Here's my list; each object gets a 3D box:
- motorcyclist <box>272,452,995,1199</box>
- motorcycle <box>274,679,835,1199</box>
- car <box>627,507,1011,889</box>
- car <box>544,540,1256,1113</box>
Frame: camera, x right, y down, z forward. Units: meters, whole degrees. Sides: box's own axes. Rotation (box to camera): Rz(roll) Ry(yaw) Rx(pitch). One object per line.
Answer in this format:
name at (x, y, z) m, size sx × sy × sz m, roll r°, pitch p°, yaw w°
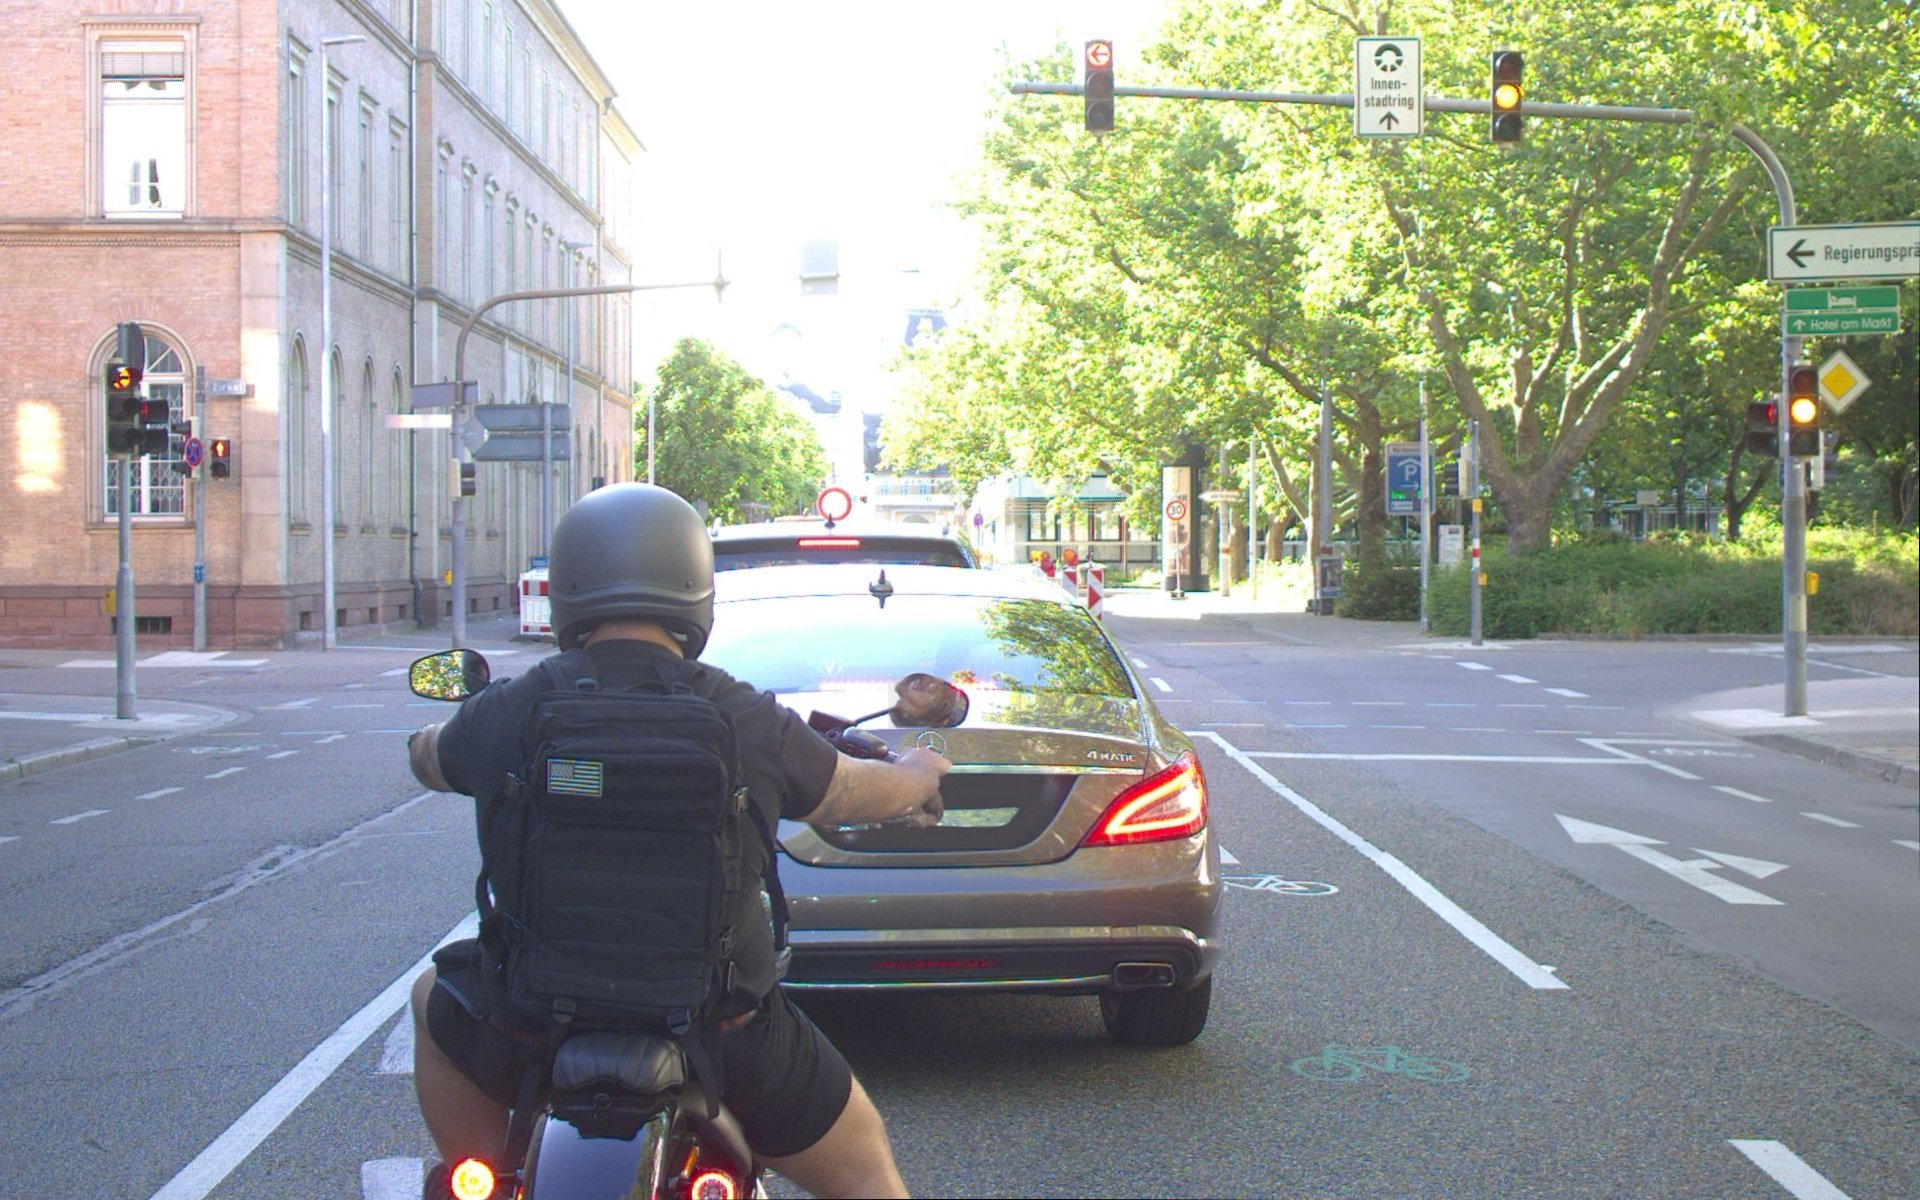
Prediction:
motorcyclist at (-0.464, 0.599, 5.337) m, size 0.990 × 1.605 × 1.120 m, roll 1°, pitch 0°, yaw -1°
motorcycle at (-0.561, 0.782, 5.432) m, size 0.660 × 1.236 × 2.058 m, roll 1°, pitch 1°, yaw -1°
car at (-0.636, 0.407, 16.983) m, size 1.651 × 1.646 × 4.000 m, roll 1°, pitch 1°, yaw -1°
car at (-0.405, 0.571, 11.137) m, size 1.824 × 1.481 × 4.334 m, roll 1°, pitch 1°, yaw -7°
